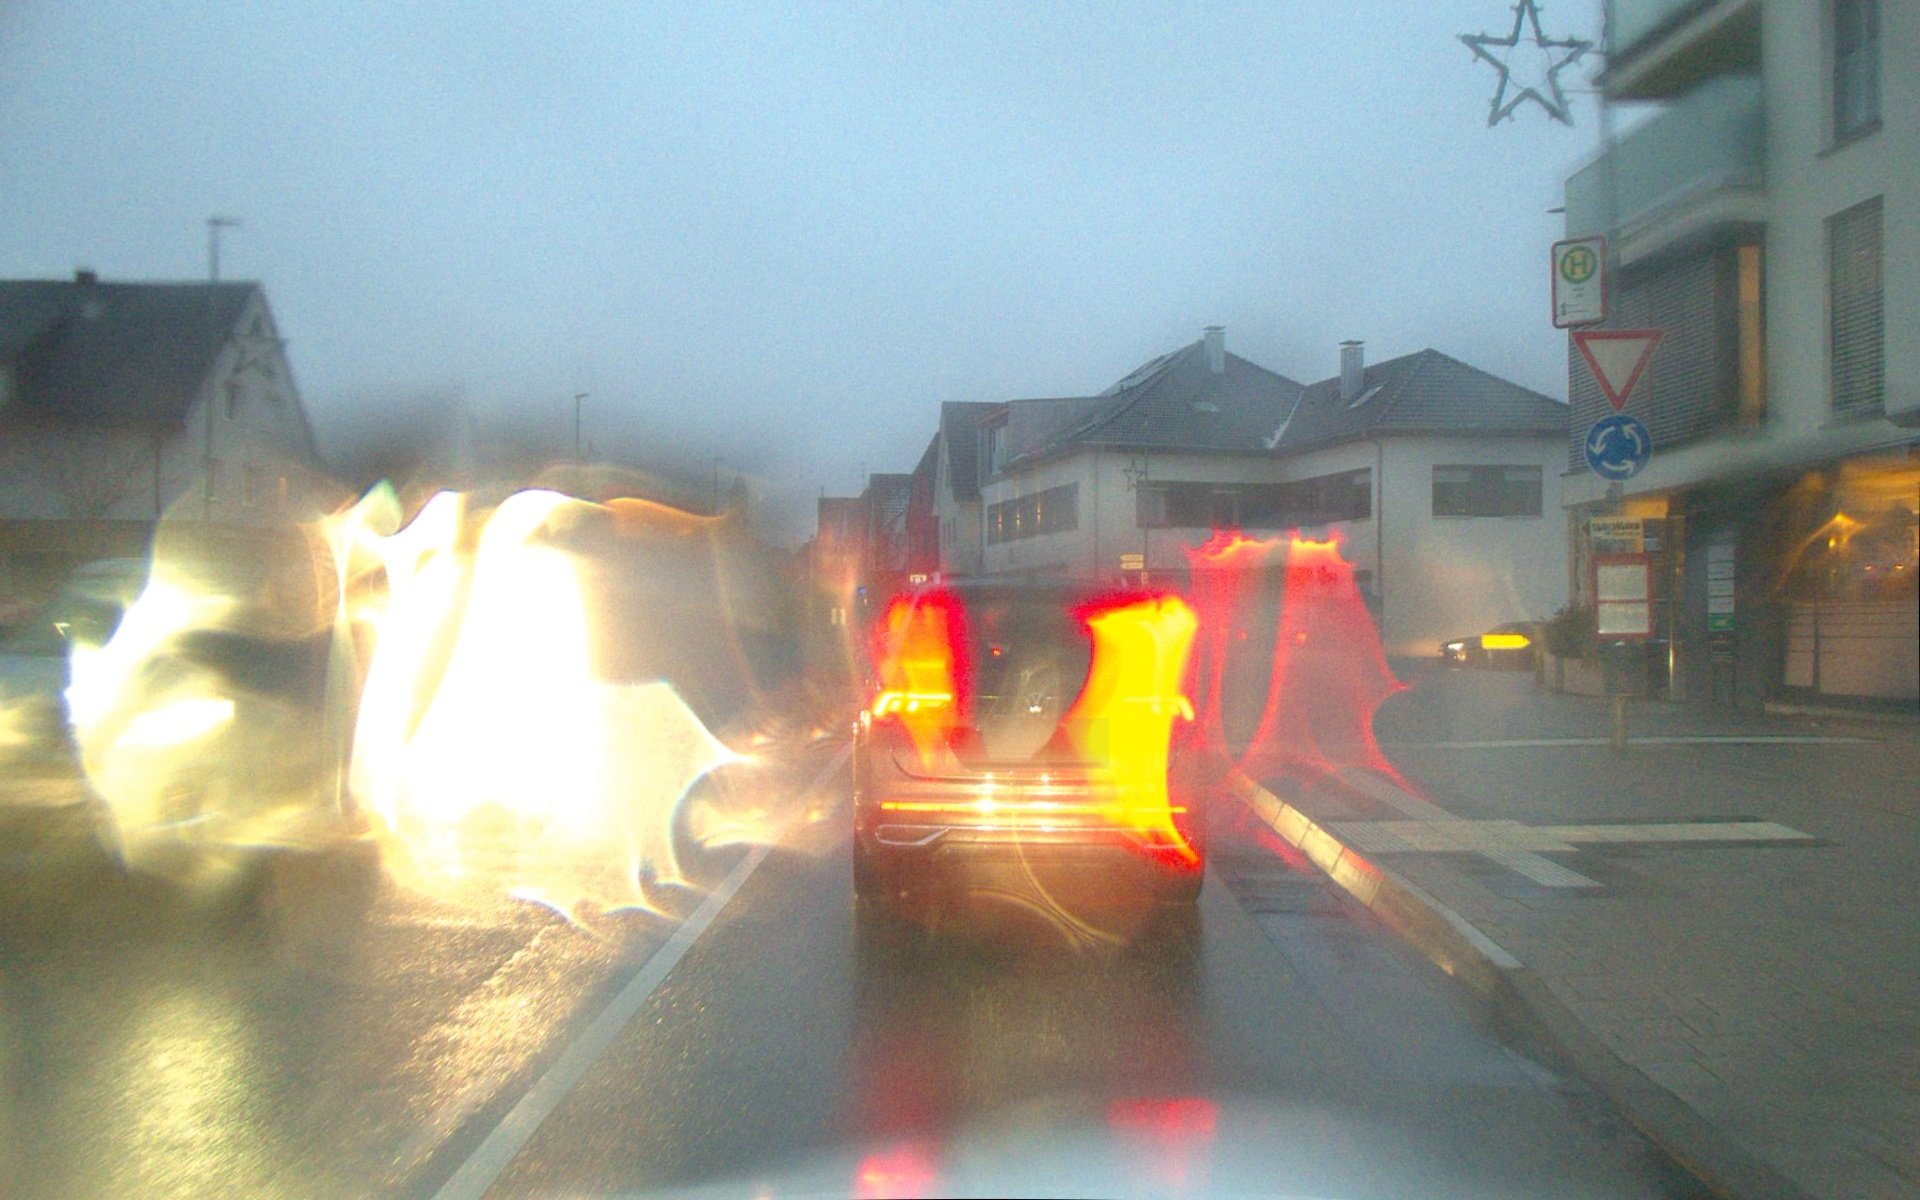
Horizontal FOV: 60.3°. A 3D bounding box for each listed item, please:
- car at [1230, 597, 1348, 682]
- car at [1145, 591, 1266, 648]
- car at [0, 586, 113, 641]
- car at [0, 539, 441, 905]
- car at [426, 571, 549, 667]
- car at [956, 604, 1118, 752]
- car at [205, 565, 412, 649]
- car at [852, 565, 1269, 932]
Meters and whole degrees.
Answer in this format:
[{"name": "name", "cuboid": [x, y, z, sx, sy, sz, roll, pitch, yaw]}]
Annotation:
[{"name": "car", "cuboid": [7.343, 0.839, 36.636, 1.784, 1.656, 4.000, -1, 1, 23]}, {"name": "car", "cuboid": [6.757, 0.535, 45.879, 1.621, 1.491, 3.976, 1, 0, -20]}, {"name": "car", "cuboid": [-25.220, 0.385, 44.794, 3.745, 1.447, 1.716, 0, -2, 11]}, {"name": "car", "cuboid": [-4.336, 0.535, 9.447, 1.743, 1.650, 3.954, 1, 0, -5]}, {"name": "car", "cuboid": [-9.707, 0.376, 33.784, 1.698, 1.844, 4.101, 1, -1, -26]}, {"name": "car", "cuboid": [0.874, 0.845, 19.813, 1.741, 1.566, 3.933, 0, 0, 1]}, {"name": "car", "cuboid": [-16.785, 0.159, 42.648, 4.782, 2.049, 2.001, 1, -1, 19]}, {"name": "car", "cuboid": [0.394, 0.674, 9.473, 1.877, 1.643, 3.948, 1, 0, -2]}]
